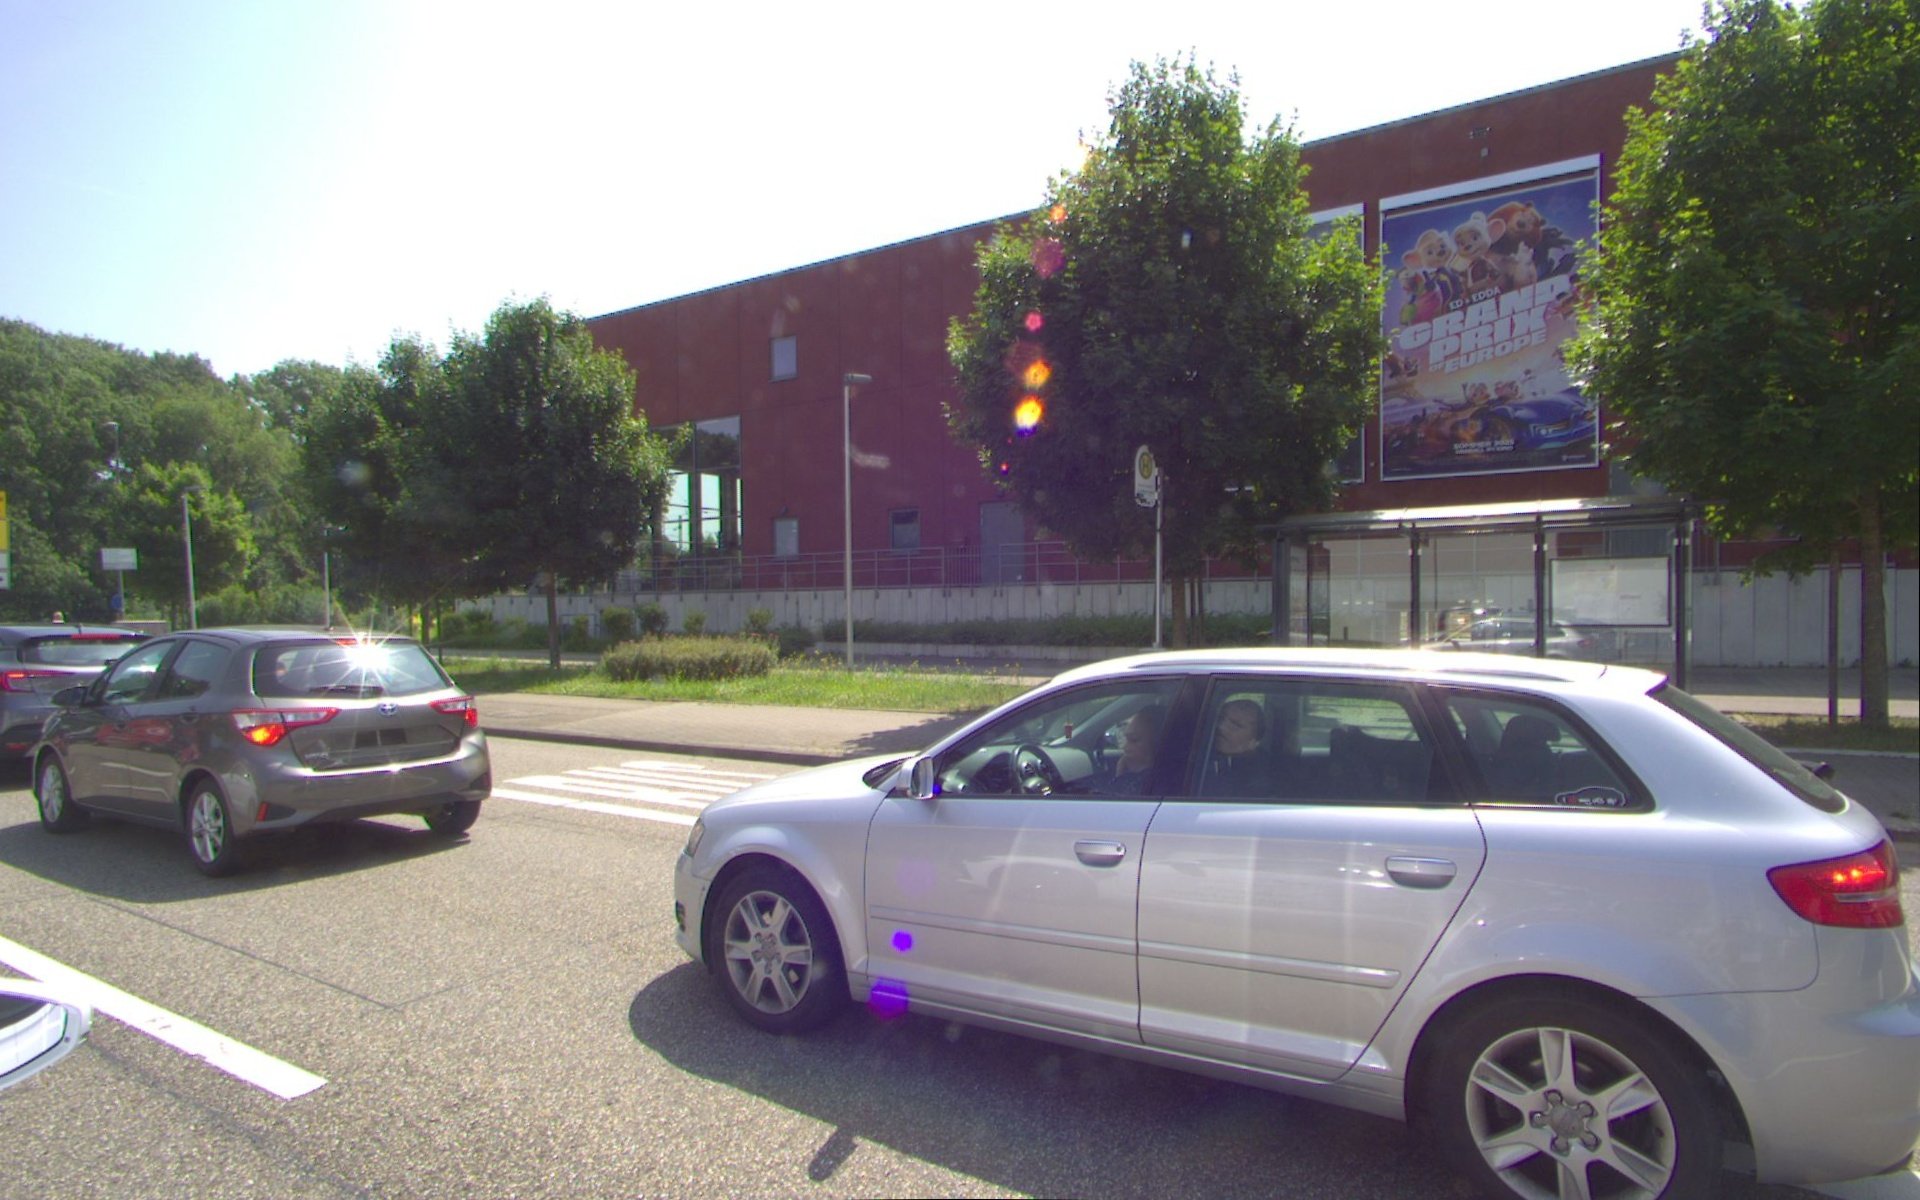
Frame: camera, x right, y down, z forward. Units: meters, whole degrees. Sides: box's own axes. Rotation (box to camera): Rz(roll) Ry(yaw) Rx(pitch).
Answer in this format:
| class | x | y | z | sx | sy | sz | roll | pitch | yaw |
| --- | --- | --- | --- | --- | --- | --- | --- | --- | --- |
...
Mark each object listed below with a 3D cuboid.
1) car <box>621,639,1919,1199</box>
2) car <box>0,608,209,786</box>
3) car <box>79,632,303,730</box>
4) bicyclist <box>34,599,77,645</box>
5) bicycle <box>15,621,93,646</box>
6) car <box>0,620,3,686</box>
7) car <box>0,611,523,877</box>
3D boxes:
| class | x | y | z | sx | sy | sz | roll | pitch | yaw |
| --- | --- | --- | --- | --- | --- | --- | --- | --- | --- |
| car | 0.803 | 0.852 | 3.730 | 4.031 | 1.379 | 1.710 | -1 | -2 | 31 |
| car | -10.068 | 0.917 | 10.832 | 4.031 | 1.614 | 1.709 | -1 | -1 | 31 |
| car | -12.684 | 1.252 | 16.453 | 4.086 | 1.388 | 1.635 | 0 | -2 | 33 |
| bicyclist | -29.416 | 0.711 | 32.560 | 0.814 | 1.458 | 0.598 | -1 | 1 | -14 |
| bicycle | -29.438 | 1.077 | 32.569 | 1.794 | 0.776 | 0.600 | -1 | 1 | -14 |
| car | -24.692 | 1.256 | 23.879 | 4.031 | 1.566 | 1.709 | -1 | -1 | 31 |
| car | -5.304 | 0.890 | 7.433 | 4.031 | 1.496 | 1.711 | -1 | -4 | 31 |
